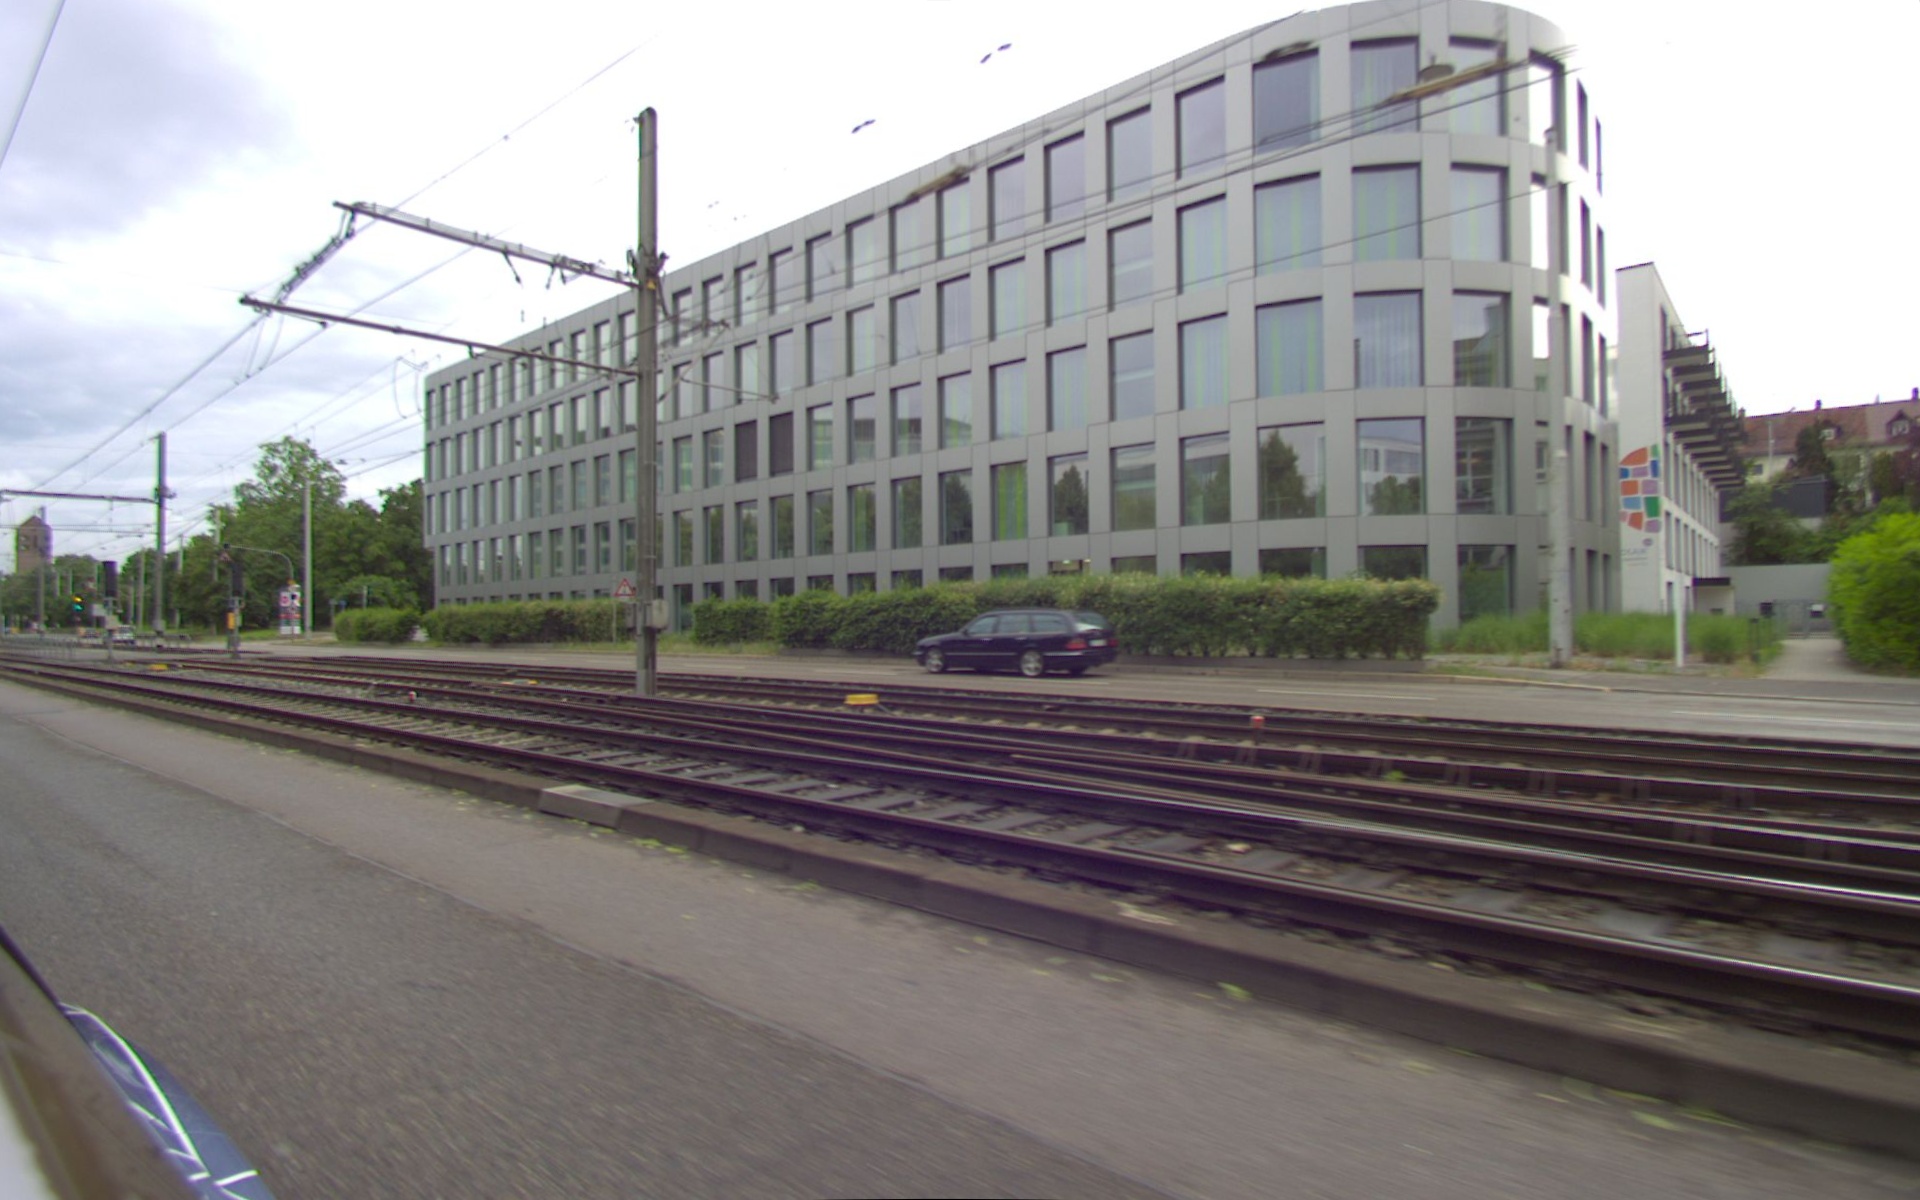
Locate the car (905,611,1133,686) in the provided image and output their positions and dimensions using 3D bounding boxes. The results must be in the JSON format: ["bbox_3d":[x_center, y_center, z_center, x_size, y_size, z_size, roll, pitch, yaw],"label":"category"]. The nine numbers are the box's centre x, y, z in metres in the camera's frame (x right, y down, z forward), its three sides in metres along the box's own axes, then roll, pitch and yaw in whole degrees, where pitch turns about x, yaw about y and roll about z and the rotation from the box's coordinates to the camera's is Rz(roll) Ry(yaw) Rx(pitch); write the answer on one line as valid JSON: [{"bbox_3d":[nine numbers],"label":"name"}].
[{"bbox_3d":[1.202,1.012,22.416,4.922,1.462,1.885,-1,-1,42],"label":"car"}]

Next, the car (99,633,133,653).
[{"bbox_3d":[-72.885,3.698,87.361,3.562,1.649,1.788,-2,-2,42],"label":"car"}]
